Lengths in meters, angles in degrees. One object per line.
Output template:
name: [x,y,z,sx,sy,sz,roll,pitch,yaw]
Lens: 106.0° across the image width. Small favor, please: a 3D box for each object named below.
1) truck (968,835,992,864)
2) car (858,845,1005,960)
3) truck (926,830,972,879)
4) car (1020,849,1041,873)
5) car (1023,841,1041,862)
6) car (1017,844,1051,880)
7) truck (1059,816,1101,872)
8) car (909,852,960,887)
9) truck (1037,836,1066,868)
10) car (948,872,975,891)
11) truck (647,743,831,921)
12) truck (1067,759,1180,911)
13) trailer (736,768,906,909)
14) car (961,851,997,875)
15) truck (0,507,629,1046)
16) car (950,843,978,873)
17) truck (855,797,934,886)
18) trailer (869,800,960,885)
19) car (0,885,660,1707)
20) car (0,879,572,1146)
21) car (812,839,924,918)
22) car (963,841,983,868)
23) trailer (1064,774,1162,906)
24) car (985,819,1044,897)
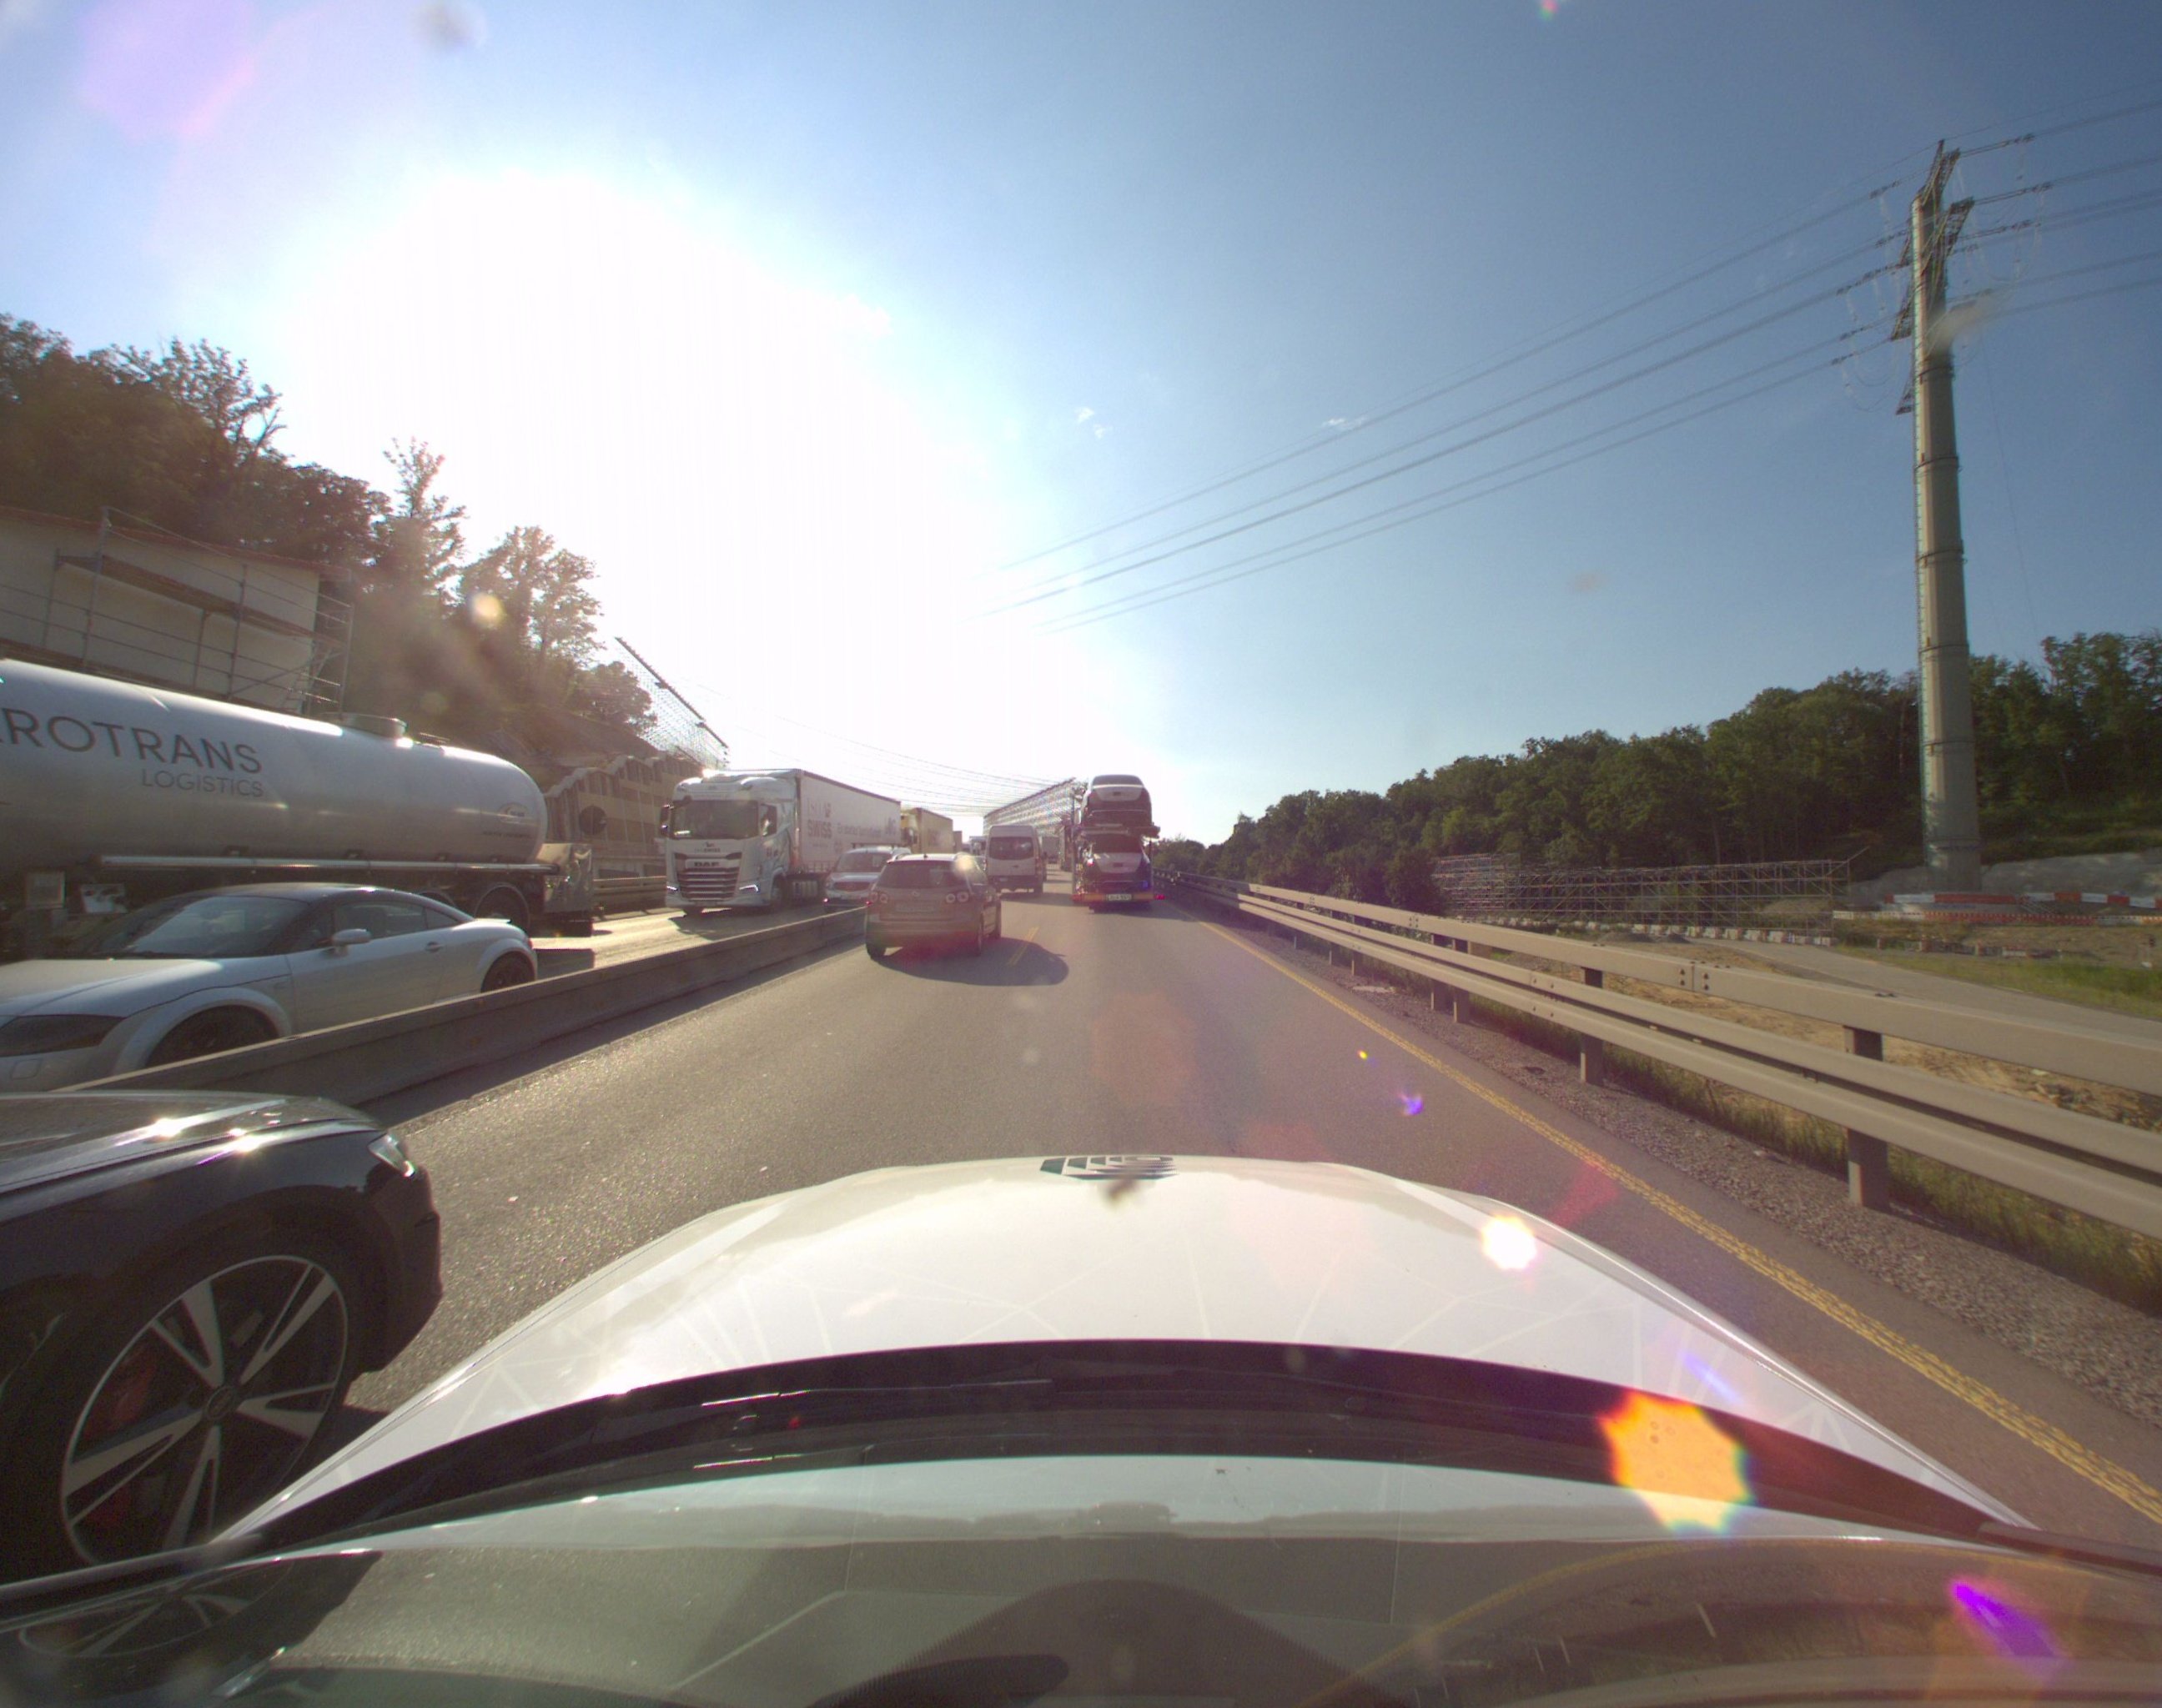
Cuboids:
truck: [-14.467,-0.620,117.317,2.635,3.995,9.021,-1,0,-2]
car: [-2.325,0.738,13.685,1.695,1.587,4.145,-1,-1,-1]
truck: [-10.196,0.126,63.612,2.351,3.531,7.693,-1,-1,-1]
car: [-4.387,0.627,70.751,1.664,1.985,3.814,-1,-1,-3]
car: [-4.748,-0.222,79.852,1.664,1.985,3.814,-1,-1,-3]
car: [-2.710,0.503,47.703,1.663,1.985,3.817,-1,-1,0]
truck: [-0.234,-0.882,74.324,3.220,4.677,11.683,-1,0,-3]
car: [-6.743,0.696,37.779,1.665,1.506,3.846,-1,0,-1]
truck: [-4.618,-0.298,125.998,3.643,4.677,11.671,-1,0,-6]
car: [-10.243,2.341,70.086,1.804,1.531,4.043,-1,-1,-3]
truck: [-9.270,-0.473,22.904,2.436,4.272,6.321,-1,-1,0]
truck: [1.080,-0.447,24.408,2.862,3.980,5.767,-1,-1,-2]
trailer: [-9.237,-0.339,30.889,2.445,4.266,12.143,-1,-1,0]
car: [-6.494,0.626,52.125,1.749,1.449,4.532,-1,-1,0]
truck: [-9.330,-0.557,7.081,2.799,3.970,13.895,0,-1,1]
car: [-11.282,0.475,78.818,2.123,2.750,5.499,-1,-1,-2]
truck: [-9.619,-0.545,42.614,2.886,4.272,5.767,-1,-1,-2]
trailer: [-9.806,-0.449,49.875,2.885,4.394,14.369,-1,-1,-1]
car: [-2.734,0.843,0.502,1.932,1.480,5.226,-2,-1,4]
car: [-5.932,0.860,6.023,1.705,1.253,4.051,-2,-1,1]
car: [-5.754,0.605,22.626,1.827,1.917,4.863,-1,0,-1]
car: [-11.328,0.014,85.782,1.664,2.765,4.955,-1,0,-2]
trailer: [0.840,-0.247,32.589,2.867,3.994,15.267,-1,-1,-1]
car: [-2.413,0.200,30.492,1.974,2.685,4.143,-1,-1,-2]
